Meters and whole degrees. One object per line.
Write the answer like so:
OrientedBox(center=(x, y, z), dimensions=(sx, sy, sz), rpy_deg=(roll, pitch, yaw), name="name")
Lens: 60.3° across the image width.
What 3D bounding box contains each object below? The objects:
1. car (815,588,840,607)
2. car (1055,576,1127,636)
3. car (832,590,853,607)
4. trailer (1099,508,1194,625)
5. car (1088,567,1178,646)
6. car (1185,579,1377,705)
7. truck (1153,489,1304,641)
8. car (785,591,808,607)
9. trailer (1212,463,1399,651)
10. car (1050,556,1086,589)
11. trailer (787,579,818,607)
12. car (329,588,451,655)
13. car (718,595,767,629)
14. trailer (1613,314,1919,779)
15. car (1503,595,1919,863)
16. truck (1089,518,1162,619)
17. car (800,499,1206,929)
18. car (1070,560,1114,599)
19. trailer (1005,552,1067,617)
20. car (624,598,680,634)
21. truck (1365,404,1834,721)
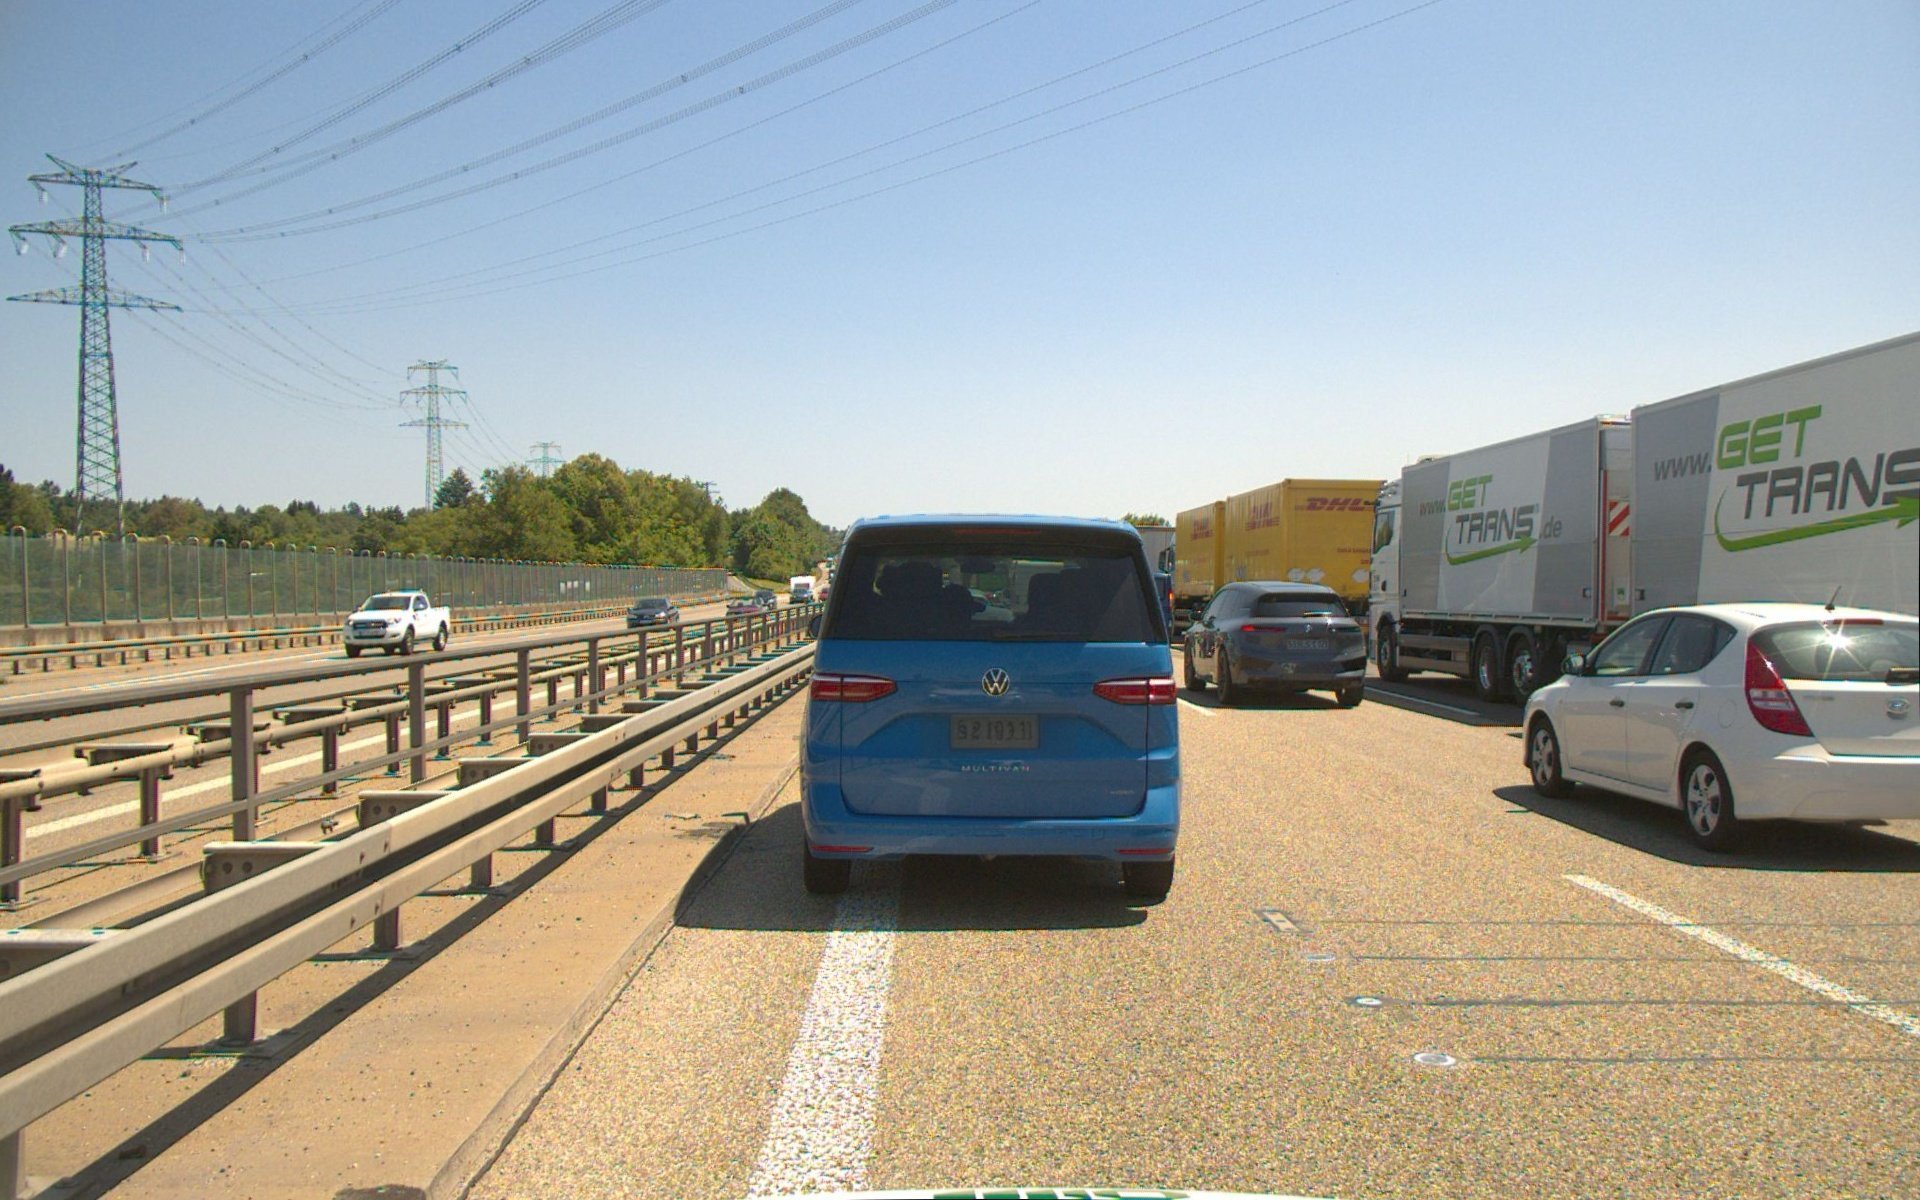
OrientedBox(center=(-10.808, -0.167, 135.401), dimensions=(1.754, 1.504, 3.988), rpy_deg=(-1, 0, -1), name="car")
OrientedBox(center=(4.215, 0.172, 53.798), dimensions=(1.953, 1.847, 3.999), rpy_deg=(0, 0, -1), name="car")
OrientedBox(center=(-10.987, -0.190, 154.650), dimensions=(1.634, 1.473, 4.000), rpy_deg=(-3, 1, 0), name="car")
OrientedBox(center=(7.867, -1.384, 71.320), dimensions=(2.583, 4.595, 11.299), rpy_deg=(1, 0, -1), name="trailer")
OrientedBox(center=(4.645, 0.157, 44.888), dimensions=(1.922, 2.028, 4.292), rpy_deg=(0, 0, -1), name="car")
OrientedBox(center=(4.564, 0.539, 24.166), dimensions=(1.922, 1.673, 4.292), rpy_deg=(0, 0, -1), name="car")
OrientedBox(center=(8.336, -1.016, 52.956), dimensions=(2.778, 4.317, 11.008), rpy_deg=(1, 0, -1), name="truck")
OrientedBox(center=(-15.661, -0.085, 158.316), dimensions=(1.739, 1.432, 4.682), rpy_deg=(-2, 0, -1), name="car")
OrientedBox(center=(8.710, -1.006, 42.931), dimensions=(2.806, 4.313, 9.010), rpy_deg=(1, 0, -1), name="trailer")
OrientedBox(center=(6.917, -1.750, 106.240), dimensions=(1.953, 2.049, 4.460), rpy_deg=(-1, 0, -1), name="car")
OrientedBox(center=(-15.625, -0.695, 164.066), dimensions=(2.442, 2.593, 6.773), rpy_deg=(-2, 0, -1), name="trailer")
OrientedBox(center=(-17.015, 0.596, 49.662), dimensions=(1.953, 1.918, 5.255), rpy_deg=(0, 0, -1), name="car")
OrientedBox(center=(-9.381, 0.512, 71.581), dimensions=(1.565, 1.341, 4.340), rpy_deg=(-2, 0, -1), name="car")
OrientedBox(center=(9.051, -0.448, 15.387), dimensions=(2.643, 3.765, 8.013), rpy_deg=(0, 0, -1), name="trailer")
OrientedBox(center=(5.361, 0.716, 11.428), dimensions=(1.752, 1.481, 4.292), rpy_deg=(0, 0, -1), name="car")
OrientedBox(center=(7.780, -1.434, 78.519), dimensions=(2.613, 4.562, 6.848), rpy_deg=(1, 0, -1), name="truck")
OrientedBox(center=(0.171, 0.505, 9.413), dimensions=(1.783, 1.890, 4.074), rpy_deg=(1, 0, -1), name="car")
OrientedBox(center=(7.081, -1.086, 88.865), dimensions=(1.953, 2.049, 3.999), rpy_deg=(1, 0, -1), name="car")
OrientedBox(center=(3.759, -0.726, 83.663), dimensions=(2.517, 3.042, 10.661), rpy_deg=(1, 0, -1), name="trailer")
OrientedBox(center=(-12.907, 0.648, 69.495), dimensions=(1.565, 1.373, 4.178), rpy_deg=(-2, 0, -1), name="car")
OrientedBox(center=(8.846, -0.483, 24.882), dimensions=(2.603, 3.711, 11.008), rpy_deg=(0, 0, -1), name="truck")
